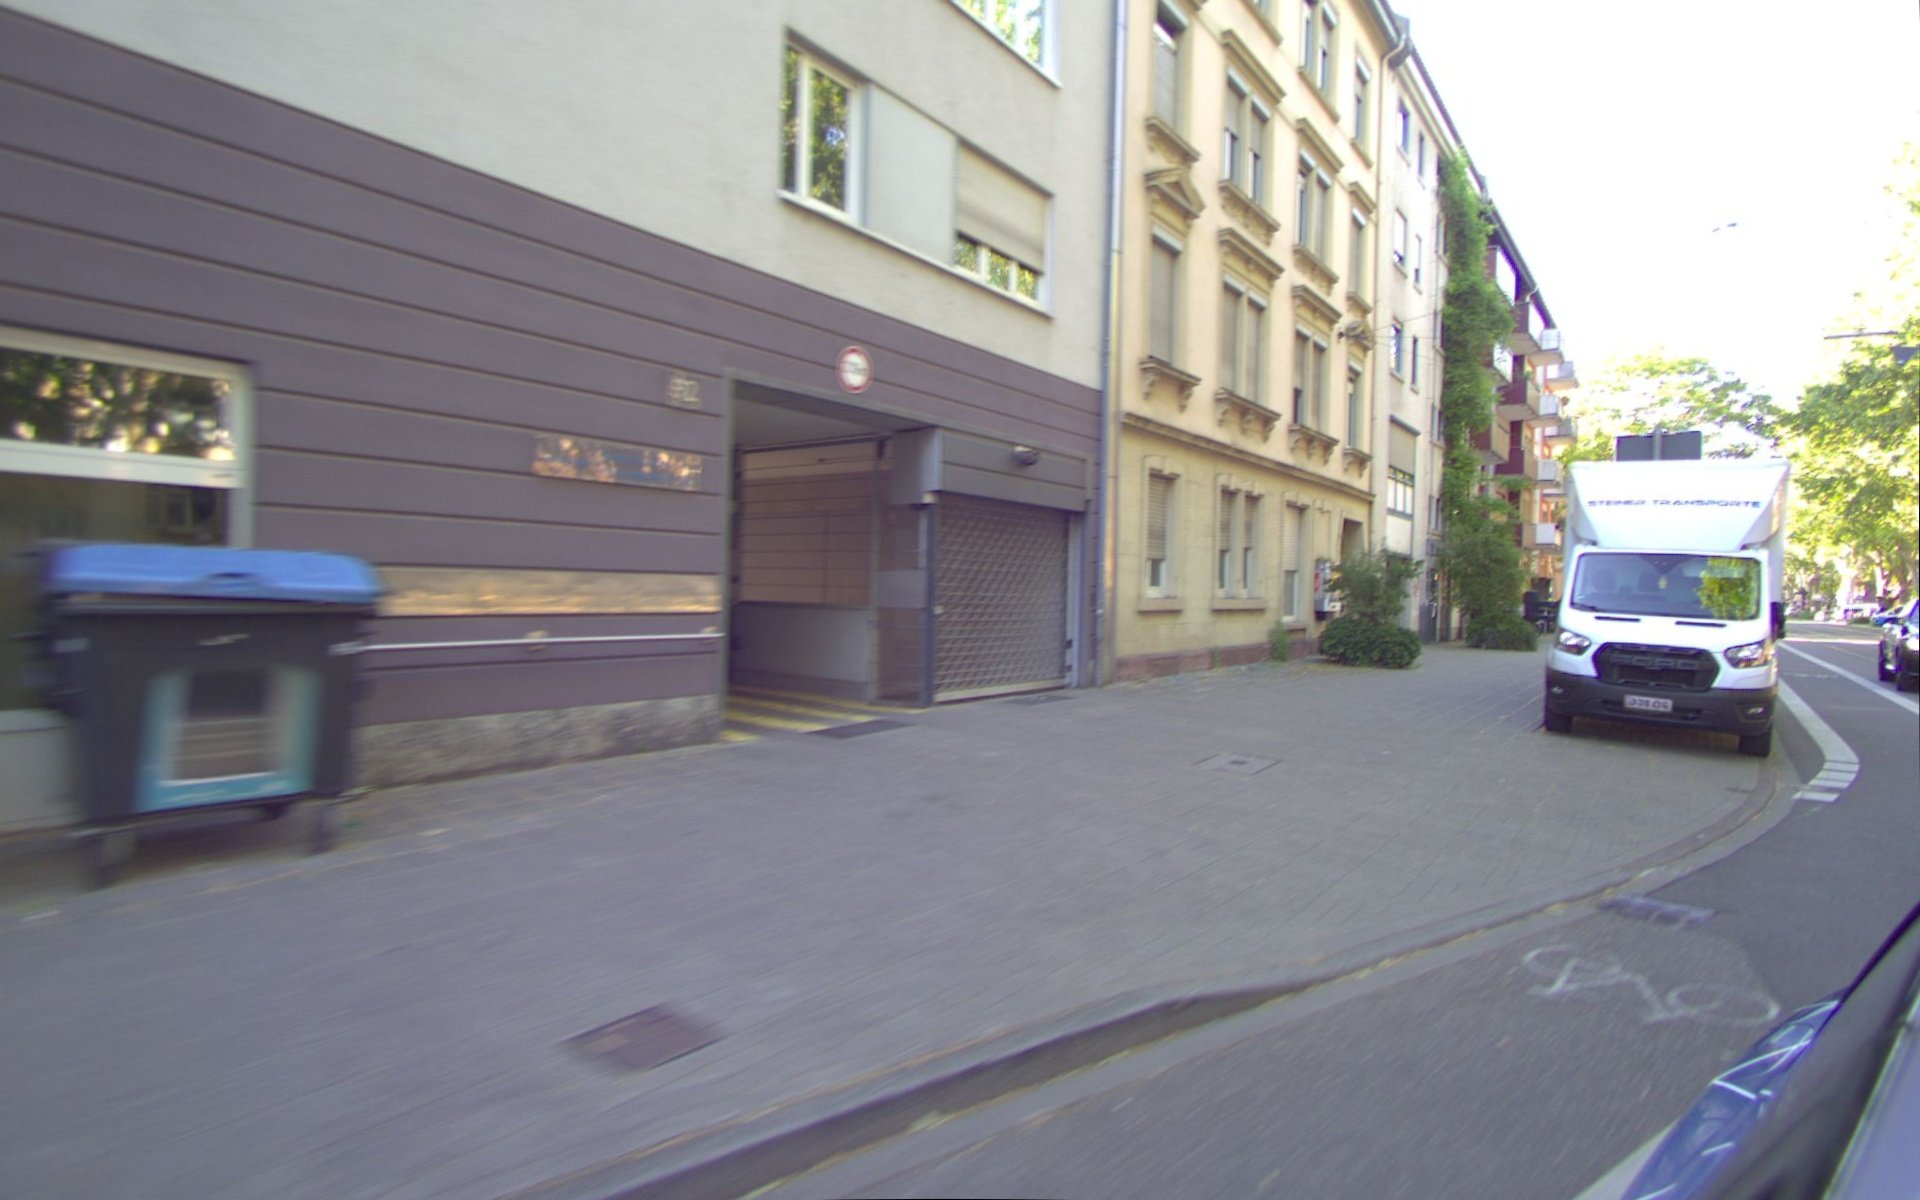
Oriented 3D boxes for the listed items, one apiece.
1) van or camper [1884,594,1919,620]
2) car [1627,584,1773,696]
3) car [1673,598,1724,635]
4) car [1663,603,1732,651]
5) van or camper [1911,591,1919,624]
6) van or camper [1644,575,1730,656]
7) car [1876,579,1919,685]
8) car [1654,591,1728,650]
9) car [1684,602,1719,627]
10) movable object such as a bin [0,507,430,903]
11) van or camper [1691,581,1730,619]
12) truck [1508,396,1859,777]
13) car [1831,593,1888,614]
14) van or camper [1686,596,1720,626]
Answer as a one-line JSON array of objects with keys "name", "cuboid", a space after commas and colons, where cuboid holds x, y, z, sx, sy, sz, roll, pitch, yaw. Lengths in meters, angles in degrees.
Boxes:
[{"name": "van or camper", "cuboid": [83.600, 0.597, 87.865, 4.808, 2.217, 2.091, 1, 0, 37]}, {"name": "car", "cuboid": [12.580, 0.580, 17.401, 1.725, 1.576, 4.101, 5, 3, 34]}, {"name": "car", "cuboid": [33.466, 0.717, 45.885, 1.730, 1.480, 3.864, 4, 2, 36]}, {"name": "car", "cuboid": [25.333, 0.873, 34.722, 1.657, 1.416, 4.673, 4, 2, 38]}, {"name": "van or camper", "cuboid": [76.635, 0.632, 77.417, 5.377, 2.547, 2.412, 1, 0, 37]}, {"name": "van or camper", "cuboid": [19.162, 0.362, 26.801, 1.664, 1.906, 4.158, 3, 2, 34]}, {"name": "car", "cuboid": [18.155, 0.558, 18.266, 1.914, 1.774, 4.743, 1, 0, 37]}, {"name": "car", "cuboid": [22.129, 0.588, 30.595, 1.657, 1.600, 3.540, 3, 2, 37]}, {"name": "car", "cuboid": [47.983, 0.916, 65.485, 1.702, 1.491, 3.947, 3, 1, 37]}, {"name": "movable object such as a bin", "cuboid": [-3.610, 0.358, 4.799, 1.184, 1.502, 1.573, 4, 3, 37]}, {"name": "van or camper", "cuboid": [67.245, -0.005, 90.748, 2.456, 3.101, 6.187, 4, 2, 35]}, {"name": "truck", "cuboid": [8.970, -0.222, 12.569, 2.534, 3.378, 7.097, 5, 3, 37]}, {"name": "car", "cuboid": [110.304, 0.474, 124.210, 4.992, 2.428, 2.002, 1, 0, 36]}, {"name": "van or camper", "cuboid": [50.905, 0.729, 69.425, 1.750, 1.887, 4.768, 2, 1, 36]}]
